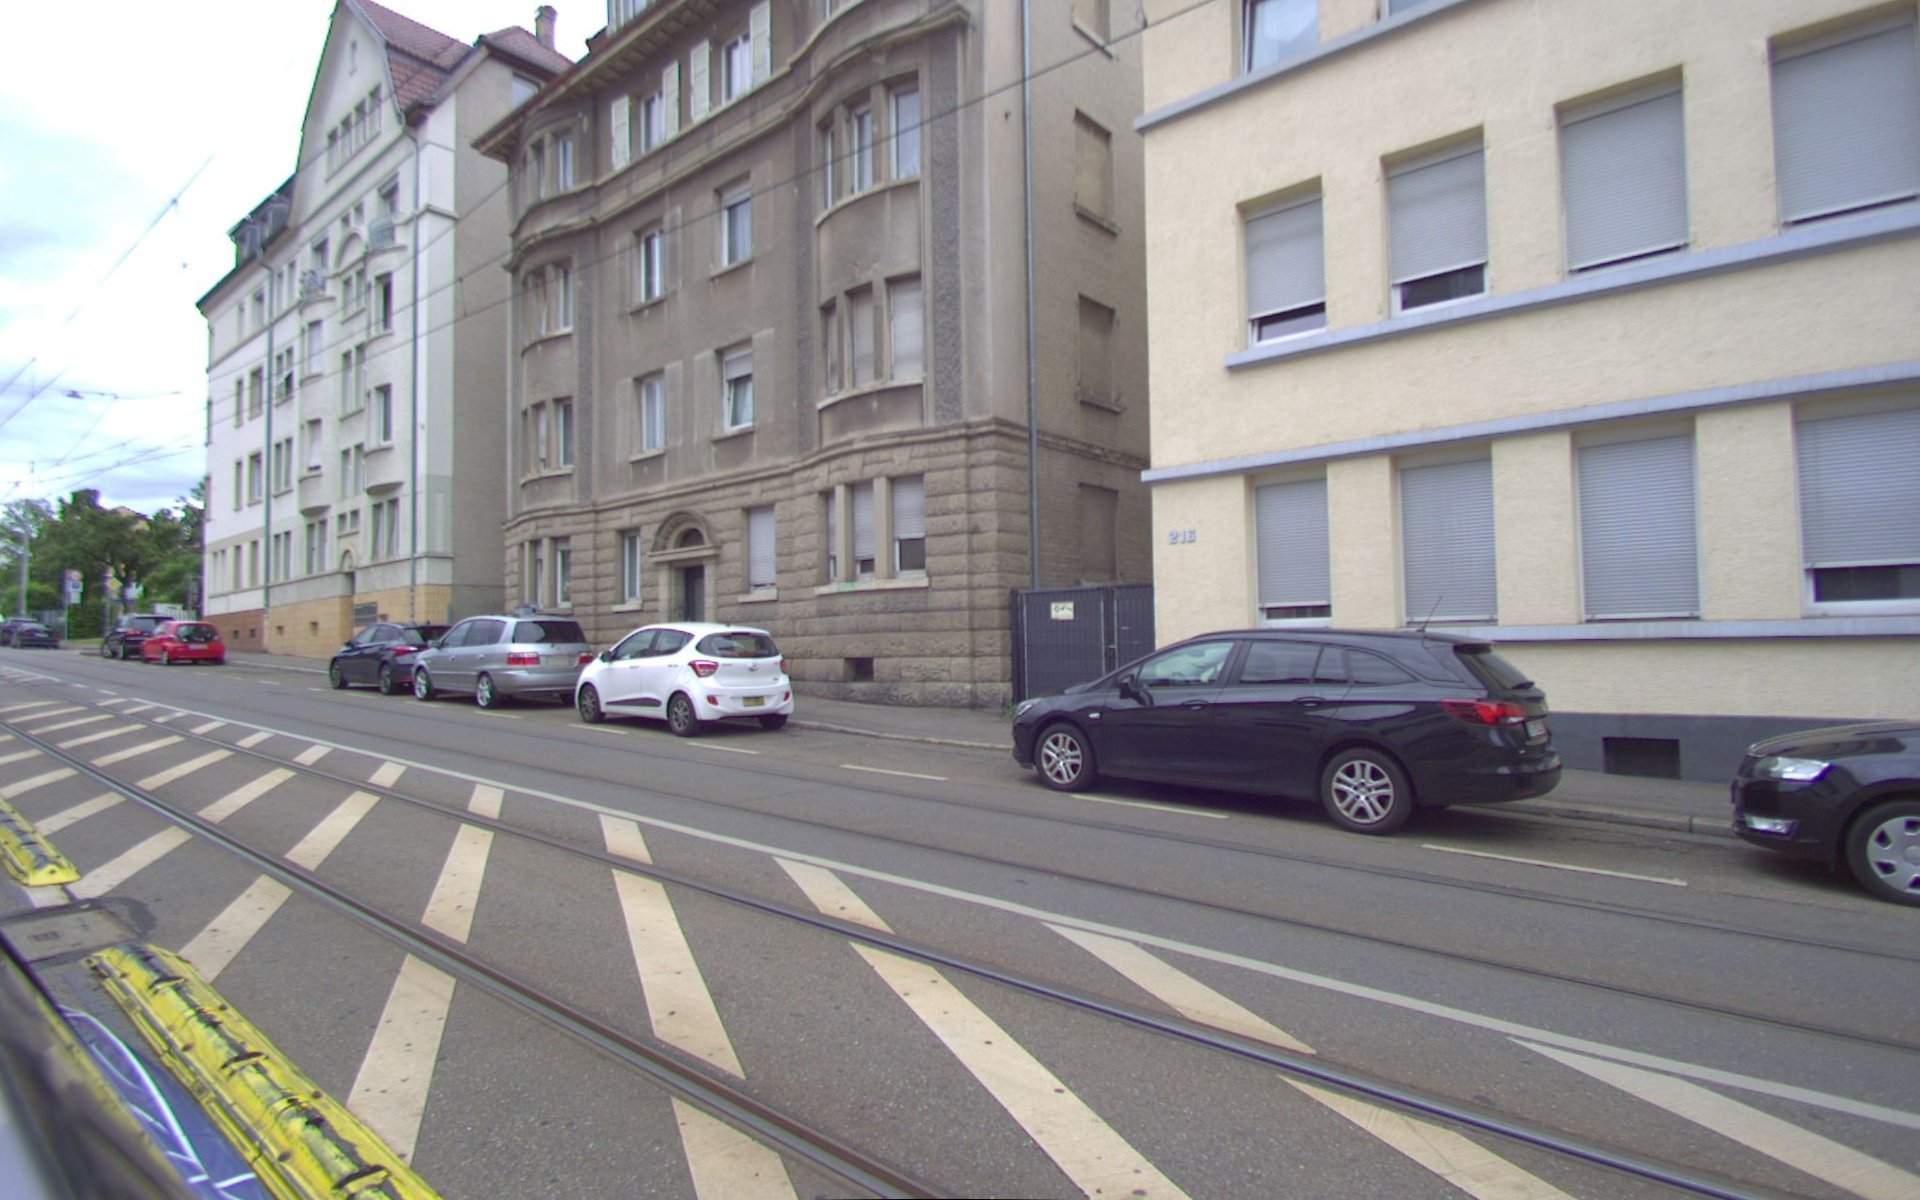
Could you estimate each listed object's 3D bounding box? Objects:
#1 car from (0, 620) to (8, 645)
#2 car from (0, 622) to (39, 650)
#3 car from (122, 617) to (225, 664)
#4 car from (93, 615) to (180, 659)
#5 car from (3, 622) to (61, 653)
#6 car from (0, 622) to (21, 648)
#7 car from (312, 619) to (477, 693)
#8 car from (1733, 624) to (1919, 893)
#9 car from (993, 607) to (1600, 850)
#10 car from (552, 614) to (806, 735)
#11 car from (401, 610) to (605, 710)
[{"bbox_3d":[-63.105,2.065,65.474,3.948,1.537,1.721,-1,-3,40],"label":"car"},{"bbox_3d":[-54.192,2.070,57.925,3.950,1.537,1.720,-1,-3,41],"label":"car"},{"bbox_3d":[-26.486,1.332,34.048,3.945,1.470,1.722,0,-3,37],"label":"car"},{"bbox_3d":[-30.230,1.340,37.126,3.948,1.537,1.721,-1,-3,40],"label":"car"},{"bbox_3d":[-49.469,1.996,53.913,3.948,1.537,1.721,-1,-3,40],"label":"car"},{"bbox_3d":[-59.133,2.144,62.077,3.948,1.537,1.721,-1,-3,40],"label":"car"},{"bbox_3d":[-11.961,1.112,21.308,4.042,1.391,1.721,-1,-1,40],"label":"car"},{"bbox_3d":[6.689,0.868,5.182,4.239,1.421,1.766,-1,-3,41],"label":"car"},{"bbox_3d":[2.592,0.861,8.519,4.524,1.522,1.766,-1,-3,41],"label":"car"},{"bbox_3d":[-4.124,0.965,14.594,3.799,1.522,1.720,-1,-1,41],"label":"car"},{"bbox_3d":[-8.263,0.984,18.144,4.140,1.579,1.721,-1,-1,40],"label":"car"}]
